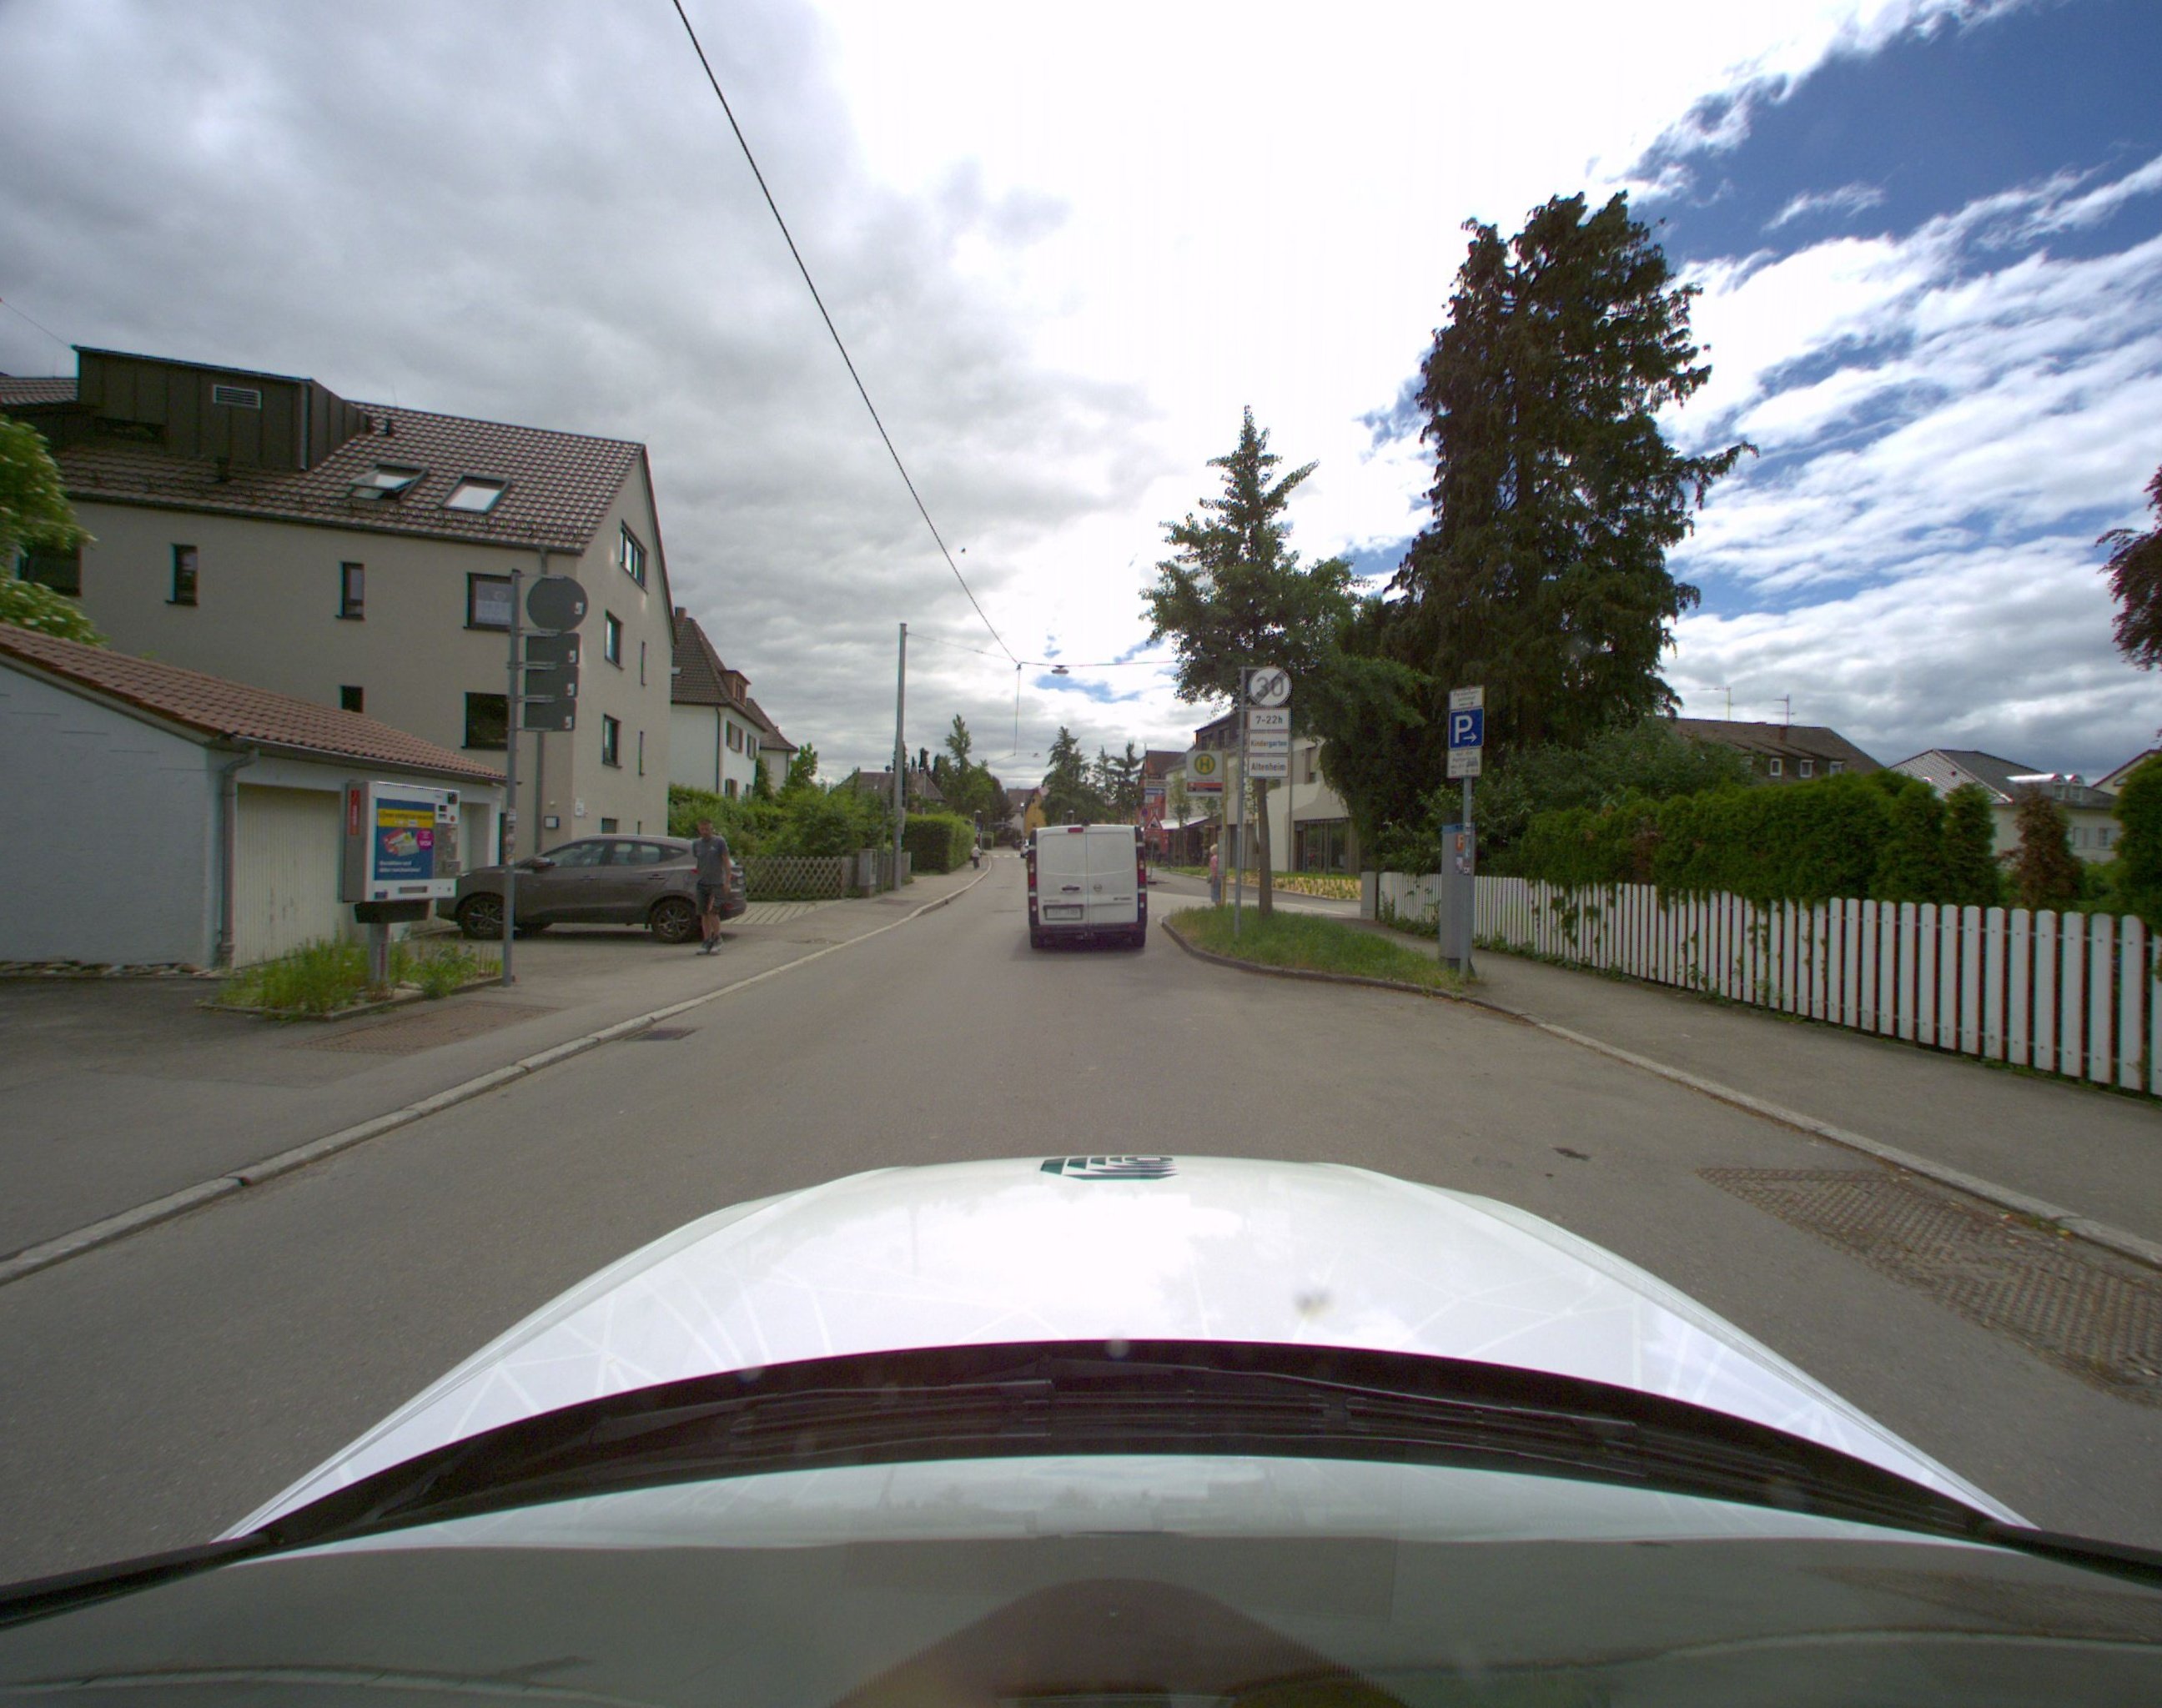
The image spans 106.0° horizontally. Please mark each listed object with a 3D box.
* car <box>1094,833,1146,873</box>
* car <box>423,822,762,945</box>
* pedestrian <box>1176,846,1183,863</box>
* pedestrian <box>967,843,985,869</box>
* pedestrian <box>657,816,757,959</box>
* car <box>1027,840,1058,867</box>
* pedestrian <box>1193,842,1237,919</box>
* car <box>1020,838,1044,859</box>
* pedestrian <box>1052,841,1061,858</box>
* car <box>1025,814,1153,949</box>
[{"bbox_3d":[2.008,-0.053,43.083,1.956,1.916,4.891,3,0,-6],"label":"car"},{"bbox_3d":[-7.732,0.482,13.360,4.314,1.695,1.791,3,0,-12],"label":"car"},{"bbox_3d":[7.029,0.017,58.169,0.421,1.182,0.323,1,0,-8],"label":"pedestrian"},{"bbox_3d":[-6.285,0.128,48.756,0.880,1.485,0.452,3,0,-25],"label":"pedestrian"},{"bbox_3d":[-5.413,0.461,11.857,0.730,1.946,1.218,3,0,3],"label":"pedestrian"},{"bbox_3d":[-2.752,-0.062,57.504,1.990,1.848,3.993,0,0,-5],"label":"car"},{"bbox_3d":[3.039,0.579,18.381,0.875,1.645,0.859,3,0,11],"label":"pedestrian"},{"bbox_3d":[-4.432,-0.493,72.892,1.990,1.782,3.993,0,0,-5],"label":"car"},{"bbox_3d":[-2.369,-0.420,78.721,0.805,1.609,0.625,3,0,-10],"label":"pedestrian"},{"bbox_3d":[-0.018,0.413,14.378,1.912,2.002,4.432,0,0,-4],"label":"car"}]
